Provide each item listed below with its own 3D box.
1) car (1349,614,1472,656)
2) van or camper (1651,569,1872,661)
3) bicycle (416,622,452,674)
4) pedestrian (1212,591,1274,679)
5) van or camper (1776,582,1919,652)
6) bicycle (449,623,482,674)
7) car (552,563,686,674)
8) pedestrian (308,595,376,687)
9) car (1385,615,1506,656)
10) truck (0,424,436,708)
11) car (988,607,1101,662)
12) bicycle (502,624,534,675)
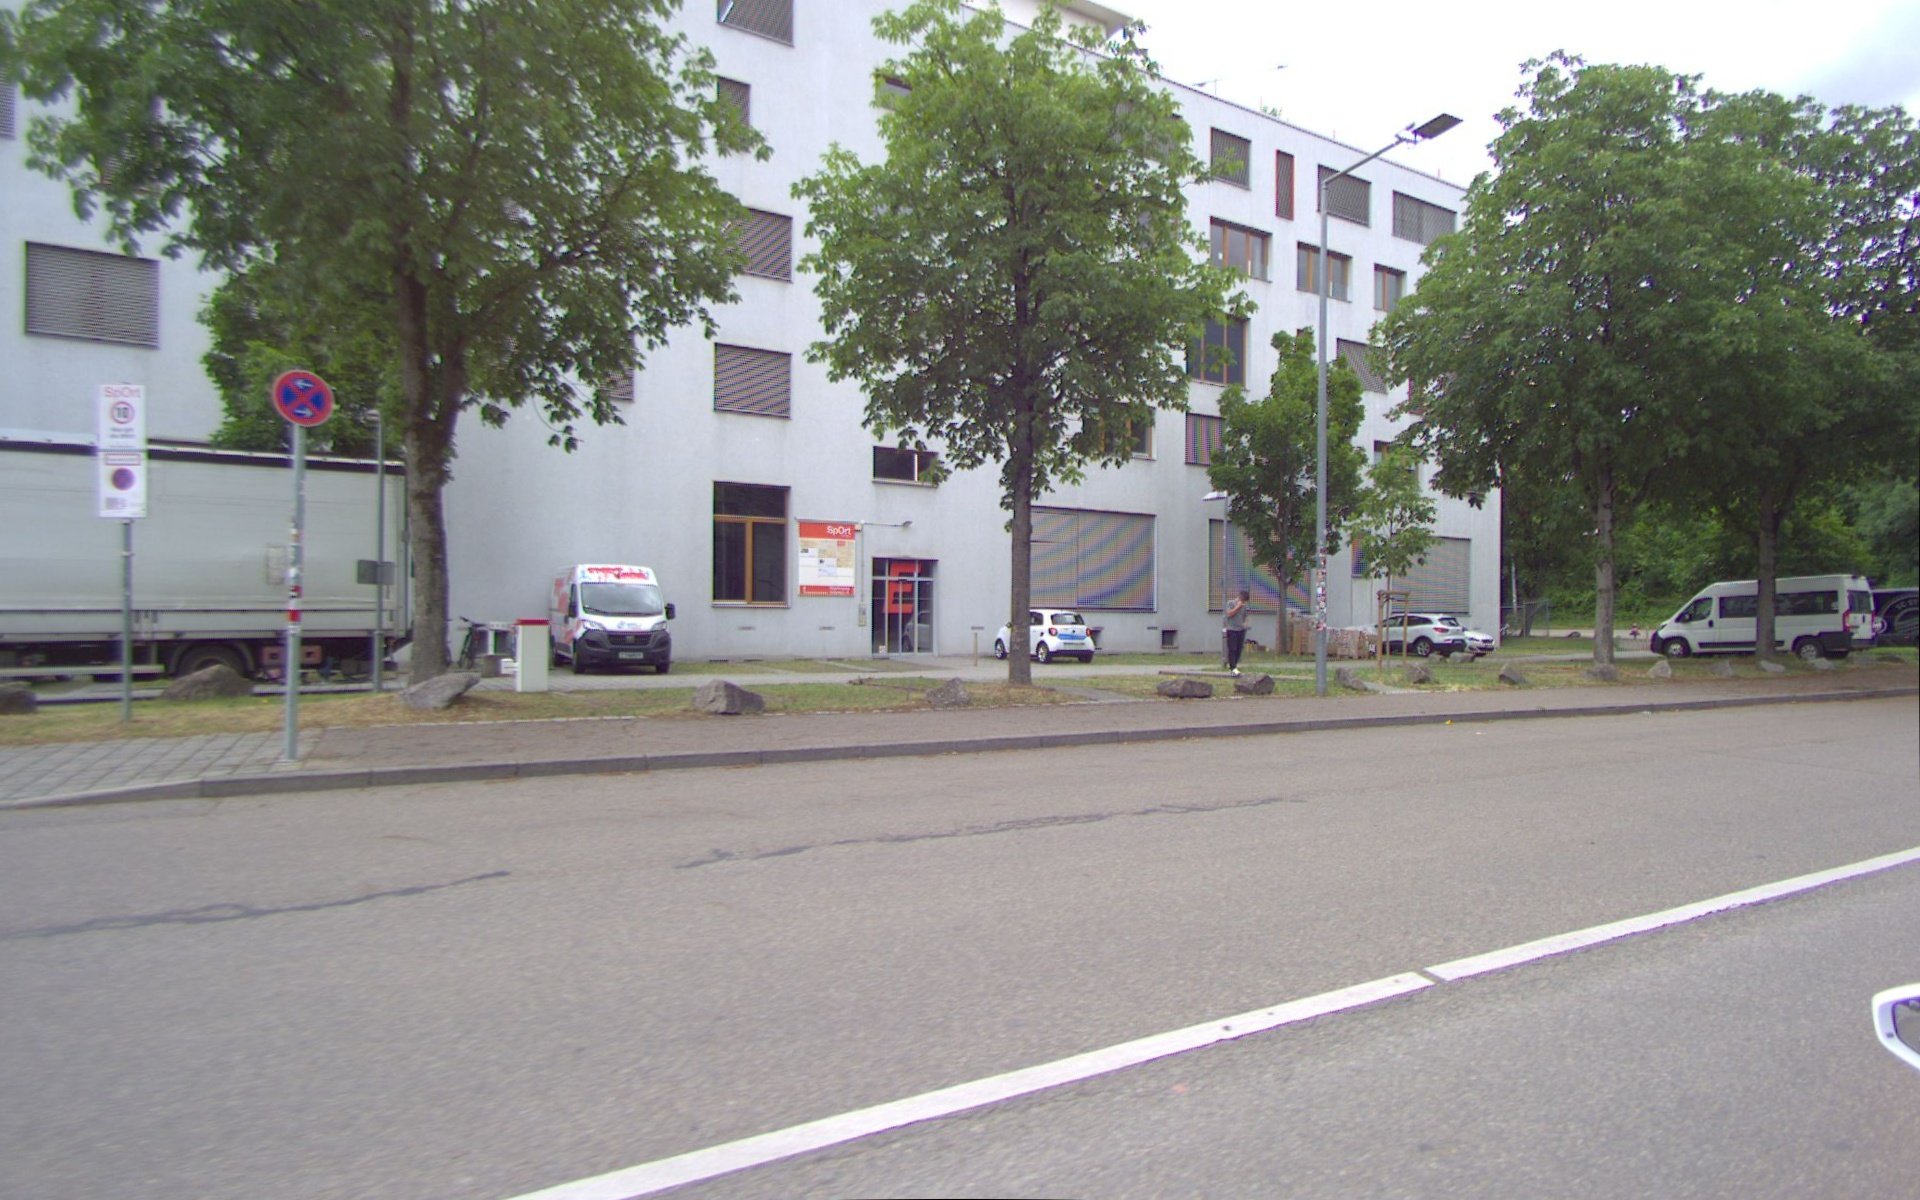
[{"bbox_3d":[17.358,1.336,38.834,1.880,1.475,3.975,2,-1,-33],"label":"car"},{"bbox_3d":[24.662,0.461,31.119,2.038,2.604,4.946,2,-1,-30],"label":"van or camper"},{"bbox_3d":[-11.985,1.078,22.934,0.605,1.084,2.019,2,-1,-25],"label":"bicycle"},{"bbox_3d":[5.611,0.692,19.919,0.779,1.694,0.838,2,-1,-34],"label":"pedestrian"},{"bbox_3d":[32.760,0.656,35.659,2.035,2.343,5.517,2,-4,-27],"label":"van or camper"},{"bbox_3d":[-11.345,1.100,23.096,0.605,1.084,2.019,2,-1,-25],"label":"bicycle"},{"bbox_3d":[-8.260,0.424,23.951,2.054,2.309,5.602,2,-1,-29],"label":"car"},{"bbox_3d":[-11.397,0.748,18.530,0.670,1.627,0.883,1,-1,42],"label":"pedestrian"},{"bbox_3d":[19.390,1.411,40.282,1.880,1.475,3.975,2,-1,-33],"label":"car"},{"bbox_3d":[-12.333,-0.416,14.460,8.273,3.648,2.662,2,-1,-32],"label":"truck"},{"bbox_3d":[2.474,1.020,30.278,1.672,1.520,3.596,2,-1,-29],"label":"car"},{"bbox_3d":[-10.363,1.135,23.506,0.605,1.084,2.019,2,-1,-25],"label":"bicycle"}]
